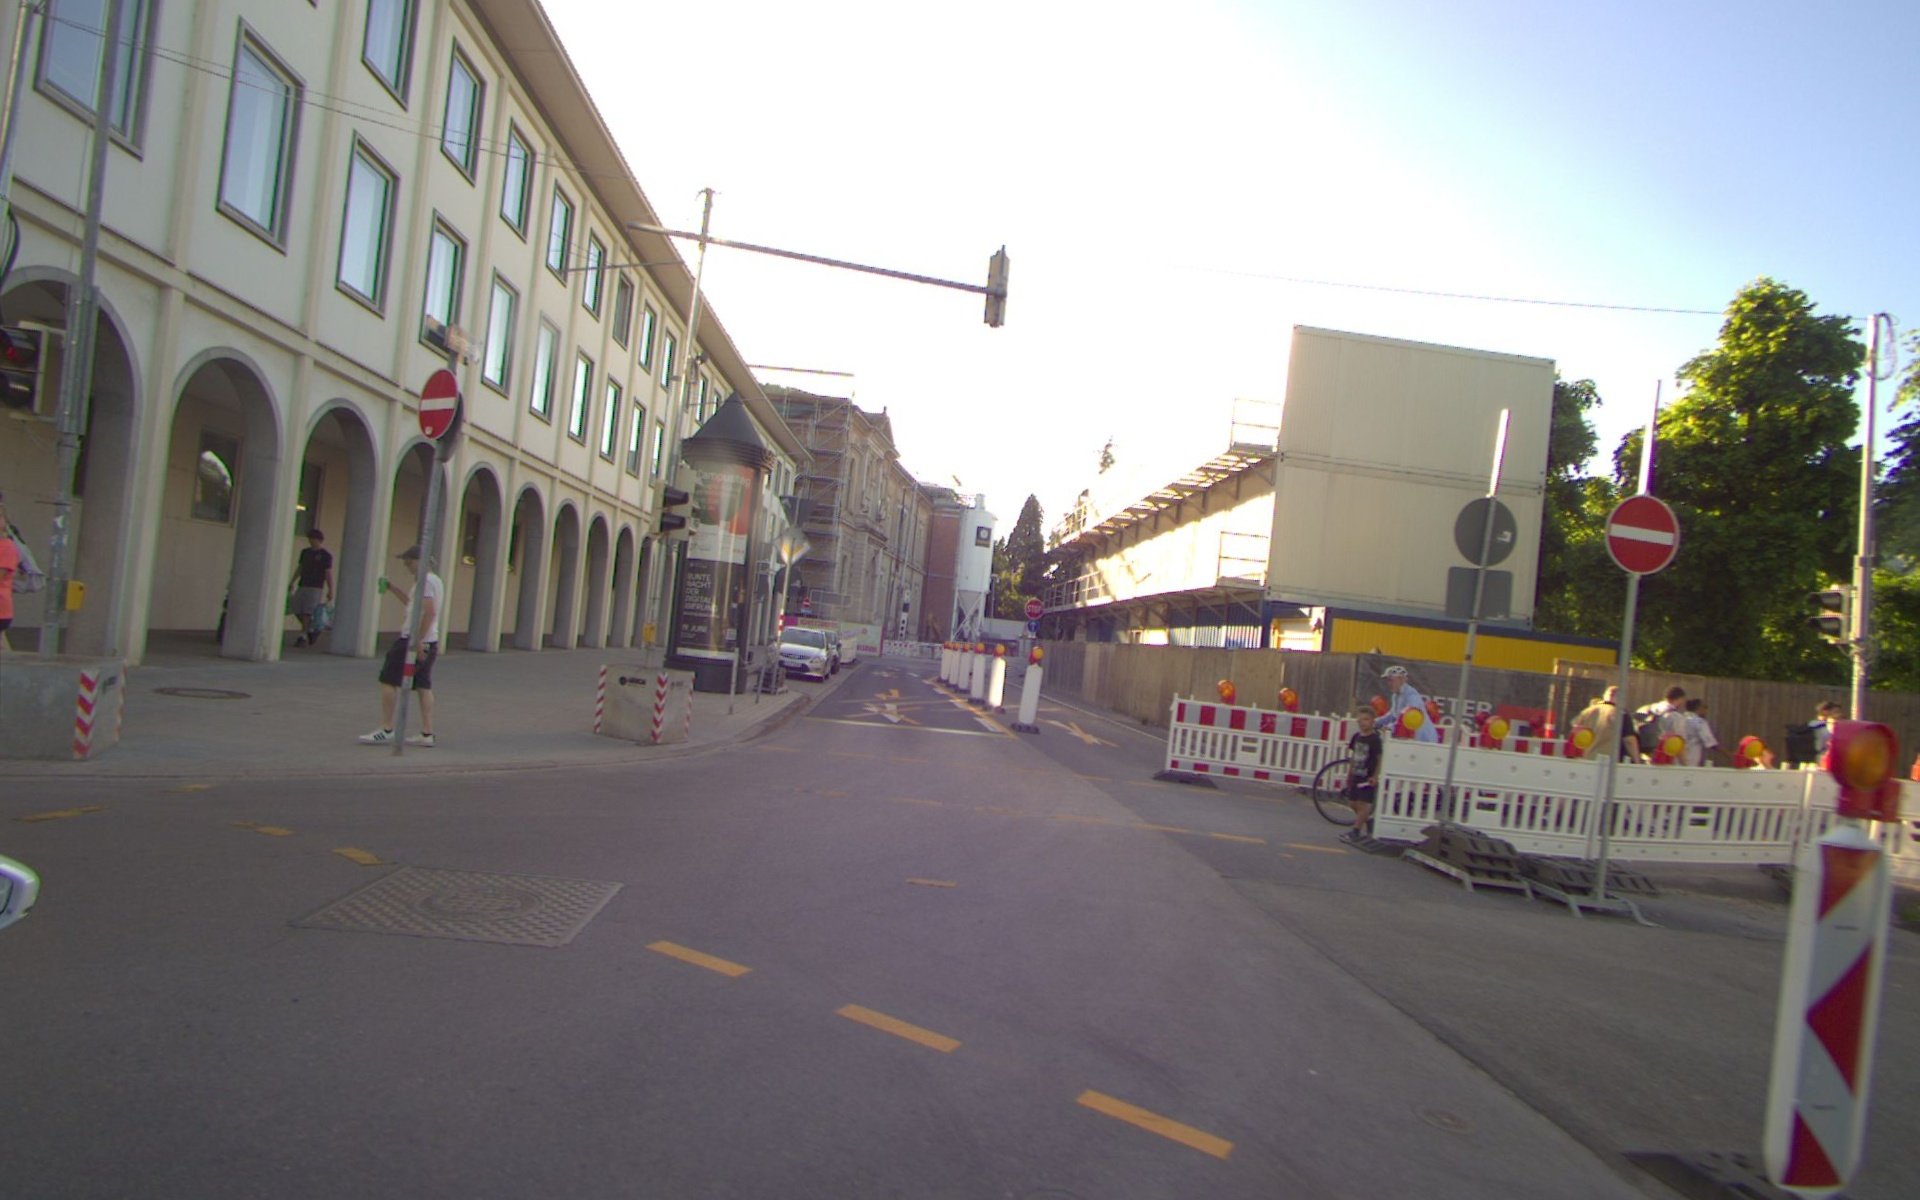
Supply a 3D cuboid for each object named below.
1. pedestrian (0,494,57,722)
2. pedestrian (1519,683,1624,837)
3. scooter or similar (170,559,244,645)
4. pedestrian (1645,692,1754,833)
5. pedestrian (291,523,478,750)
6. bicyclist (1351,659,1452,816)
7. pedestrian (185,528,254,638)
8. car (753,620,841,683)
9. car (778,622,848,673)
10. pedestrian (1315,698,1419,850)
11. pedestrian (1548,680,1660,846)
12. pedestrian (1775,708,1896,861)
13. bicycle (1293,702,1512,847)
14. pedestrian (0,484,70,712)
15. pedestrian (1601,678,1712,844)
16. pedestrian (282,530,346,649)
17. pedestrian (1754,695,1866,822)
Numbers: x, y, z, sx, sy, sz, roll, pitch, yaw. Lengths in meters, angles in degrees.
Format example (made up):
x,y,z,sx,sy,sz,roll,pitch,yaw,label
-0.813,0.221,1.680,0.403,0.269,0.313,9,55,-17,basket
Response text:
x,y,z,sx,sy,sz,roll,pitch,yaw,label
-7.273,0.026,7.315,0.714,1.645,0.619,7,2,-6,pedestrian
7.667,1.985,12.643,0.726,1.793,0.723,5,0,-3,pedestrian
-11.286,0.016,15.114,0.612,1.173,0.952,6,2,-25,scooter or similar
9.330,2.033,12.707,0.756,1.639,0.666,5,0,-3,pedestrian
-4.919,0.318,8.681,0.960,1.748,0.798,7,-1,-6,pedestrian
4.686,1.436,10.728,0.690,1.534,0.687,6,-1,9,bicyclist
-11.655,-0.277,15.849,0.612,1.645,0.722,6,2,-25,pedestrian
-4.710,1.528,29.591,1.896,1.482,4.004,8,-4,-2,car
-5.186,1.728,36.038,1.896,1.482,4.004,8,-4,-2,car
3.912,1.661,9.695,0.609,1.315,0.493,8,0,-3,pedestrian
7.260,1.813,11.362,0.726,1.737,0.621,5,0,-3,pedestrian
10.201,2.128,11.736,0.726,1.624,0.643,5,0,-3,pedestrian
4.648,1.820,10.647,1.961,1.215,0.477,6,-1,7,bicycle
-7.740,-0.062,7.784,0.951,1.732,0.674,7,2,-6,pedestrian
8.125,1.856,11.755,0.726,1.793,0.621,5,0,-3,pedestrian
-10.608,-0.184,16.531,0.634,1.864,0.722,6,2,-25,pedestrian
10.911,2.016,12.933,0.756,1.480,0.666,5,0,-3,pedestrian
